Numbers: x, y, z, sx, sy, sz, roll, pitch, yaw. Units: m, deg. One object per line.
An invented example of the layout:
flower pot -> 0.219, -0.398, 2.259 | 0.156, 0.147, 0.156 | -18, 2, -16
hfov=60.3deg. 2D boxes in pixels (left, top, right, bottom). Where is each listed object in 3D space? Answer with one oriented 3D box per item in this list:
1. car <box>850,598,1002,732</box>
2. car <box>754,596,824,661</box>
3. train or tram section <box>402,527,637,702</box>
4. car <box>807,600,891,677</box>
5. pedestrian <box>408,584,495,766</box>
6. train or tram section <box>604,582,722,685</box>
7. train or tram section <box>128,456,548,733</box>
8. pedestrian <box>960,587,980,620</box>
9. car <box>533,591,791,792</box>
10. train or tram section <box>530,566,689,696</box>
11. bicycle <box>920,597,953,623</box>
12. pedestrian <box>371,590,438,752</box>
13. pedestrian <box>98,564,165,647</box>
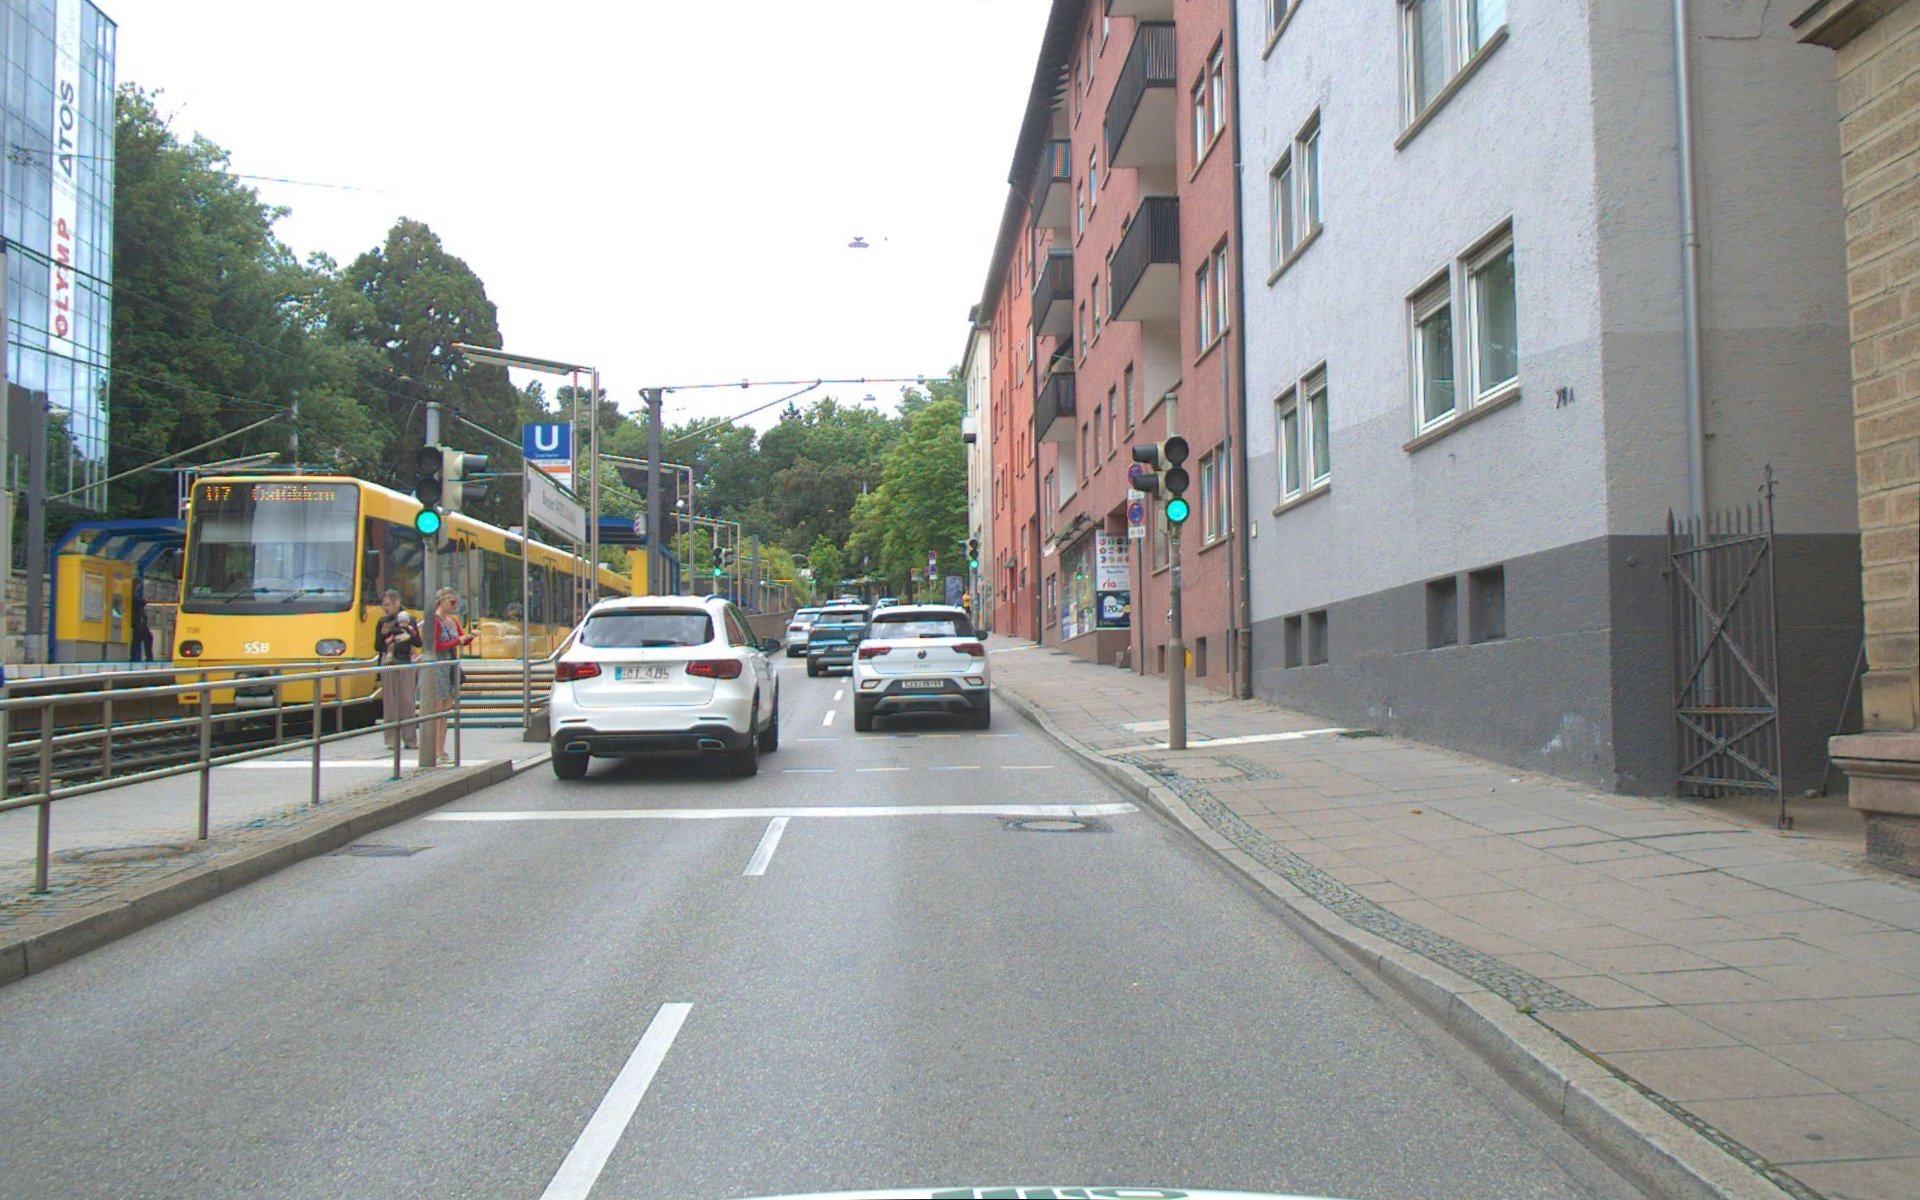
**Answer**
car -> -0.453, 0.787, 21.999 | 1.827, 1.583, 3.893 | 0, 0, -1
car -> -5.310, 0.856, 51.836 | 1.954, 1.914, 3.998 | 0, 0, -3
train or tram section -> -10.211, 0.622, 39.965 | 2.890, 3.533, 12.210 | -1, -3, -3
car -> -2.523, 0.846, 38.351 | 1.823, 1.660, 3.957 | -1, 0, -2
pedestrian -> -4.879, 0.704, 15.903 | 0.665, 1.709, 0.685 | 0, 0, -5
train or tram section -> -11.382, 1.313, 64.721 | 2.891, 3.570, 12.976 | -1, -1, -3
train or tram section -> -9.683, 0.152, 27.889 | 2.890, 3.606, 12.390 | -1, -2, -3
pedestrian -> 0.557, 0.196, 89.065 | 0.819, 1.742, 0.818 | -2, 0, -17
car -> -2.765, 0.771, 16.296 | 1.839, 1.681, 4.340 | 0, 1, -1
train or tram section -> -10.754, 1.058, 52.131 | 2.890, 3.545, 12.211 | -1, -2, -3
bicycle -> -1.185, 0.496, 81.976 | 0.632, 1.162, 2.046 | -10, 4, -28
pedestrian -> -6.051, 0.761, 18.032 | 0.610, 1.725, 0.658 | 0, 0, -12
pedestrian -> -16.601, 0.107, 33.167 | 0.956, 1.623, 0.765 | 0, 0, -3
